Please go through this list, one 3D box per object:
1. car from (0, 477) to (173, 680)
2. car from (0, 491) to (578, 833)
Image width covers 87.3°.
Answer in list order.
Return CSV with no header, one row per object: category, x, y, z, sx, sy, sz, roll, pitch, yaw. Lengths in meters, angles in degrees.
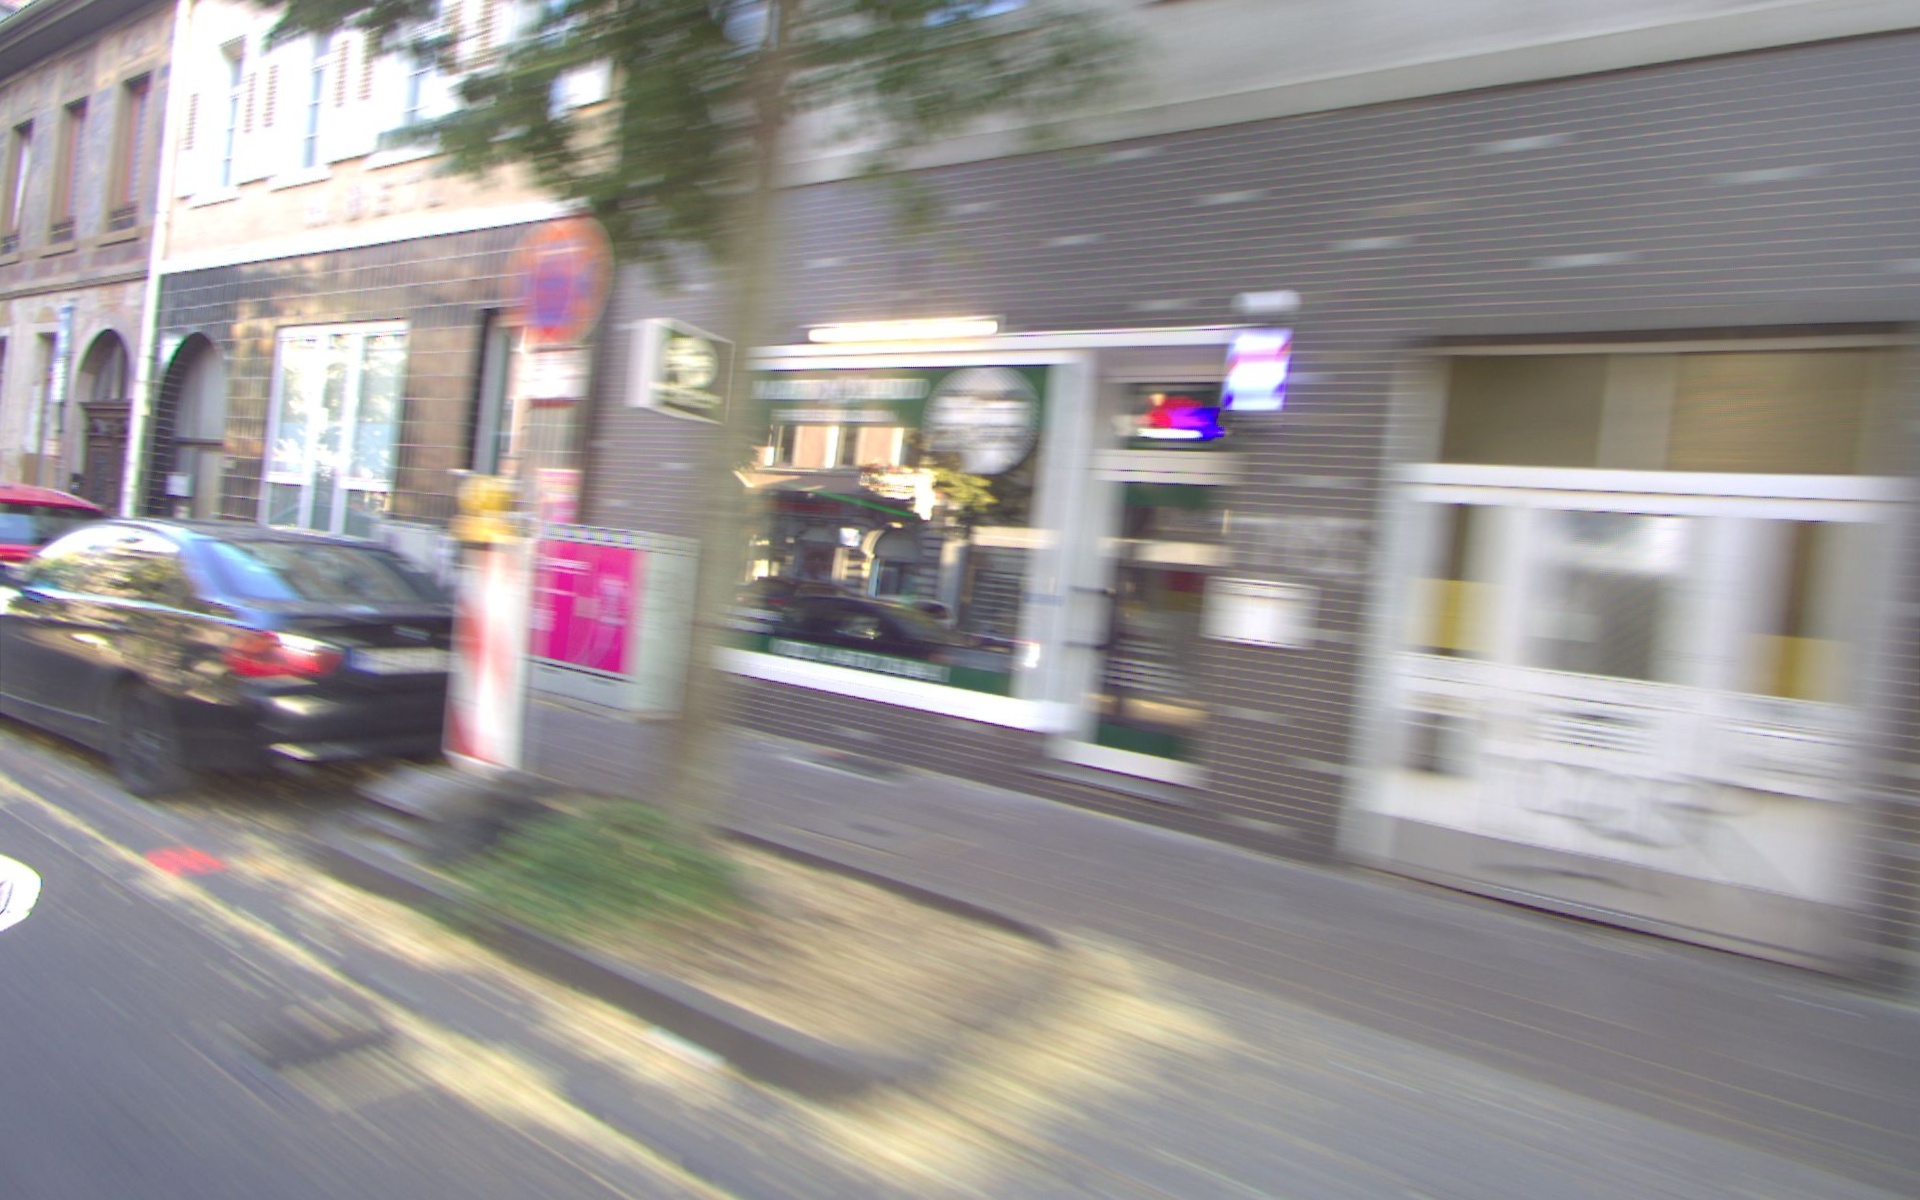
car,-8.786,-0.346,8.686,3.833,1.507,1.731,7,2,29
car,-4.816,0.169,6.526,4.348,1.409,1.953,7,2,29
